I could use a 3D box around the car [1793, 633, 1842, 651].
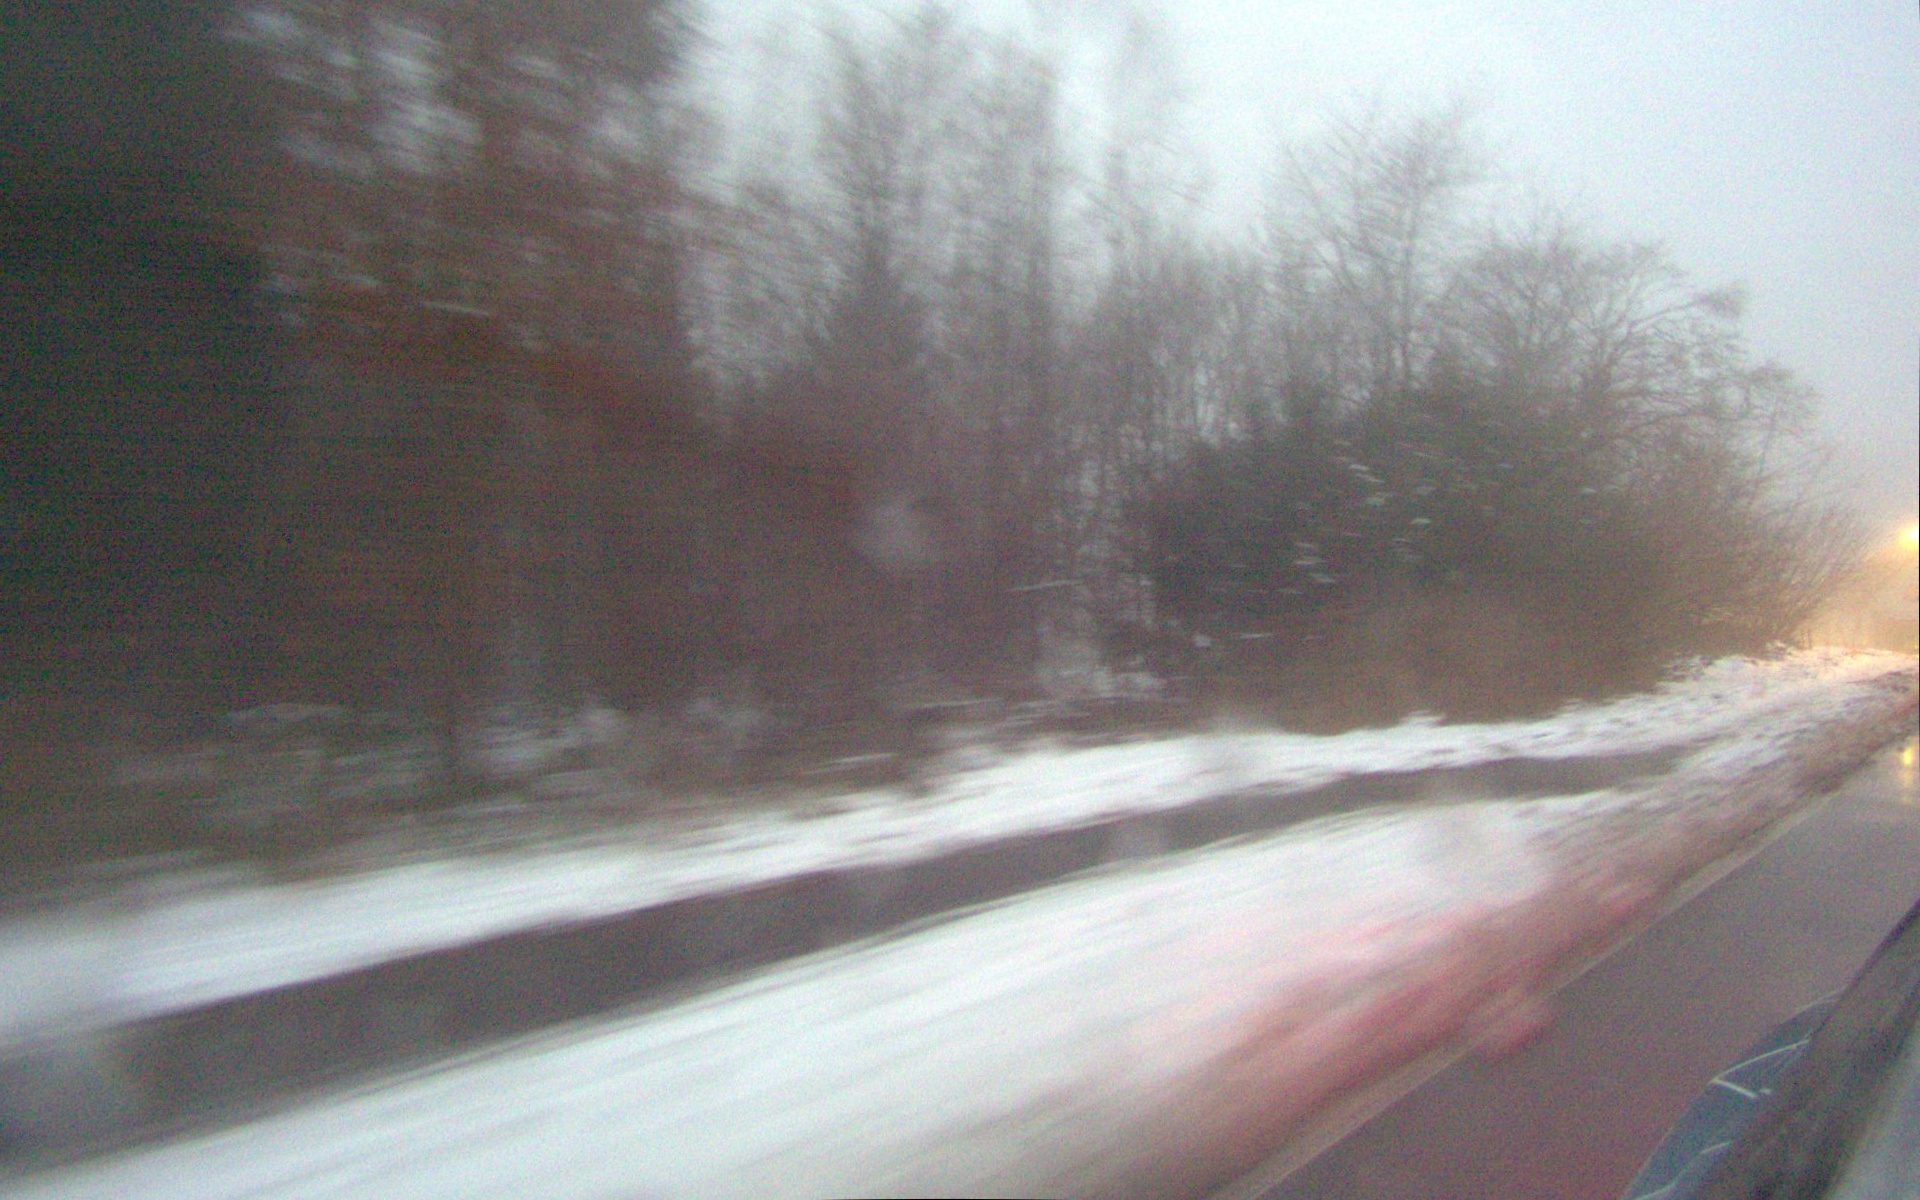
[{"bbox_3d":[73.994,3.636,87.439,1.863,1.445,5.341,0,-3,26],"label":"car"}]
